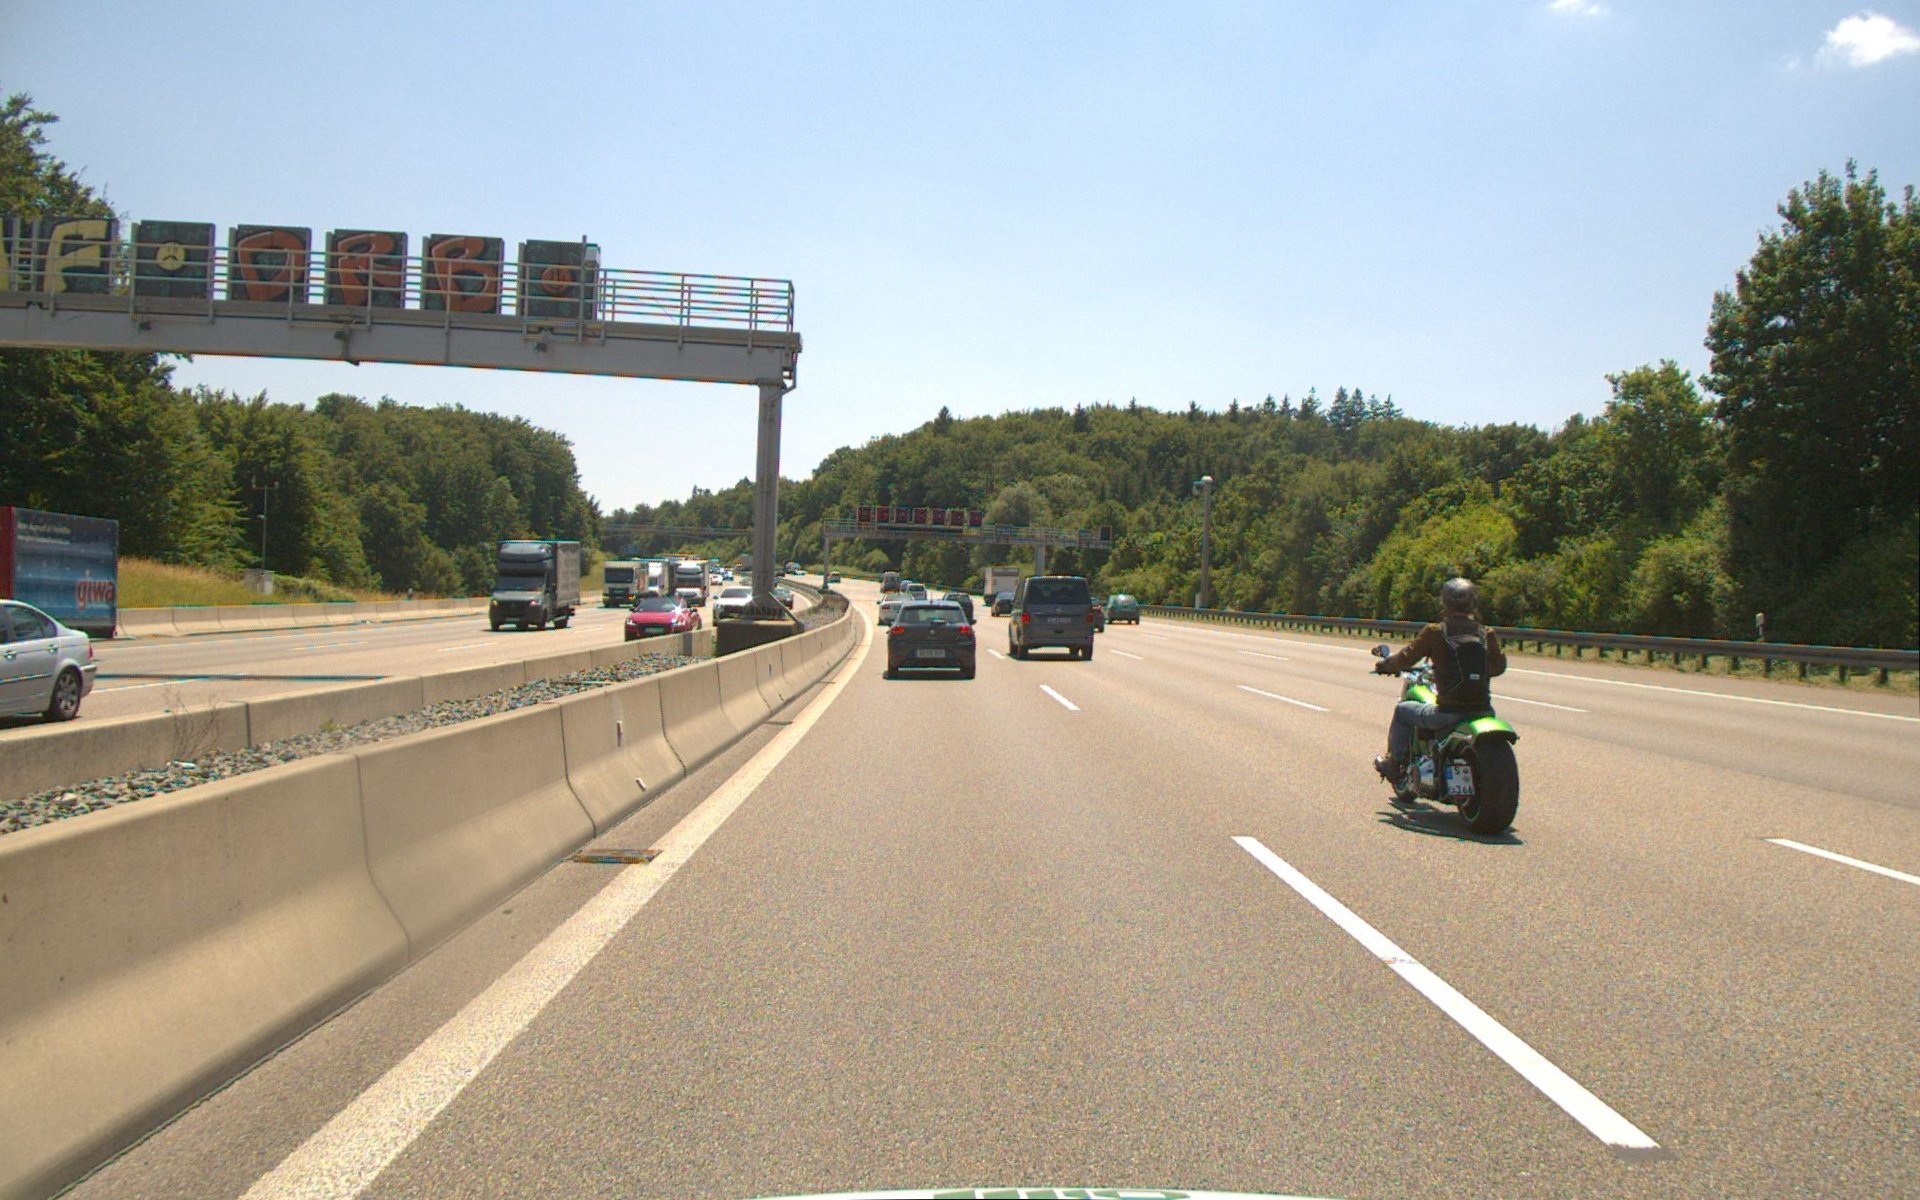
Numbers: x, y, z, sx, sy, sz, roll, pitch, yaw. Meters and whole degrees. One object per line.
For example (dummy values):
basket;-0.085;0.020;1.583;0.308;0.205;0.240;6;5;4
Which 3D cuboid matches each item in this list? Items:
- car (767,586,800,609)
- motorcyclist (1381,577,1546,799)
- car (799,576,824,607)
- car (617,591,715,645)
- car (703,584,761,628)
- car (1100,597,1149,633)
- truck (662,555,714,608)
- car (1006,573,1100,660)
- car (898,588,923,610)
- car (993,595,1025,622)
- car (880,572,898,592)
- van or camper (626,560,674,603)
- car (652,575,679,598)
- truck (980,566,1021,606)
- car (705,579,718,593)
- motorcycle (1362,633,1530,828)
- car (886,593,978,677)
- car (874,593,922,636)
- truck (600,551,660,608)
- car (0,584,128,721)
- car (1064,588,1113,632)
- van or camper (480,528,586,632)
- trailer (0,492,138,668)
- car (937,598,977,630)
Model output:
car;-12.653;-0.176;118.750;1.953;1.618;4.842;0;0;-2
motorcyclist;3.430;0.583;11.361;0.835;1.452;1.023;0;-1;1
car;-13.166;-0.741;146.743;1.954;2.620;4.166;1;-1;-3
car;-8.358;0.489;47.519;2.006;1.467;5.219;0;0;-2
car;-9.584;0.244;69.804;1.953;1.758;3.999;0;0;-1
car;8.274;0.749;83.717;1.953;1.758;3.998;0;0;-2
truck;-20.451;-1.334;124.811;2.873;3.870;9.337;0;0;-3
car;2.291;0.390;42.037;1.923;2.069;5.081;0;0;-2
car;-4.205;-0.094;139.134;2.061;1.774;4.686;1;1;-3
car;2.960;0.486;100.178;1.632;1.433;4.902;1;1;-2
car;-8.880;-2.286;208.359;2.219;2.412;4.700;0;0;-2
van or camper;-24.857;-1.416;132.962;2.709;3.180;8.089;1;-1;-3
car;-28.299;-1.295;158.990;1.954;2.049;3.998;1;-1;-3
truck;3.395;-1.258;140.274;2.925;3.222;7.572;1;1;-2
car;-37.139;-2.048;247.350;1.957;2.049;3.992;0;0;-9
motorcycle;3.382;0.854;11.721;0.524;1.155;2.437;0;1;1
car;-0.570;0.638;32.387;1.673;1.458;3.999;1;1;-2
car;-2.878;0.698;77.289;1.970;1.878;4.000;0;-2;1
truck;-23.638;-1.371;118.880;2.812;3.762;9.234;1;-1;-3
car;-10.806;0.540;17.668;1.666;1.426;4.350;0;0;-1
car;5.237;0.413;67.970;1.811;1.758;4.001;0;0;2
van or camper;-16.335;-0.741;63.759;2.381;3.742;7.754;0;0;-3
trailer;-18.727;-0.392;30.291;2.425;3.209;10.474;1;-1;-2
car;-0.176;0.791;93.171;1.954;1.758;4.145;0;0;-4
